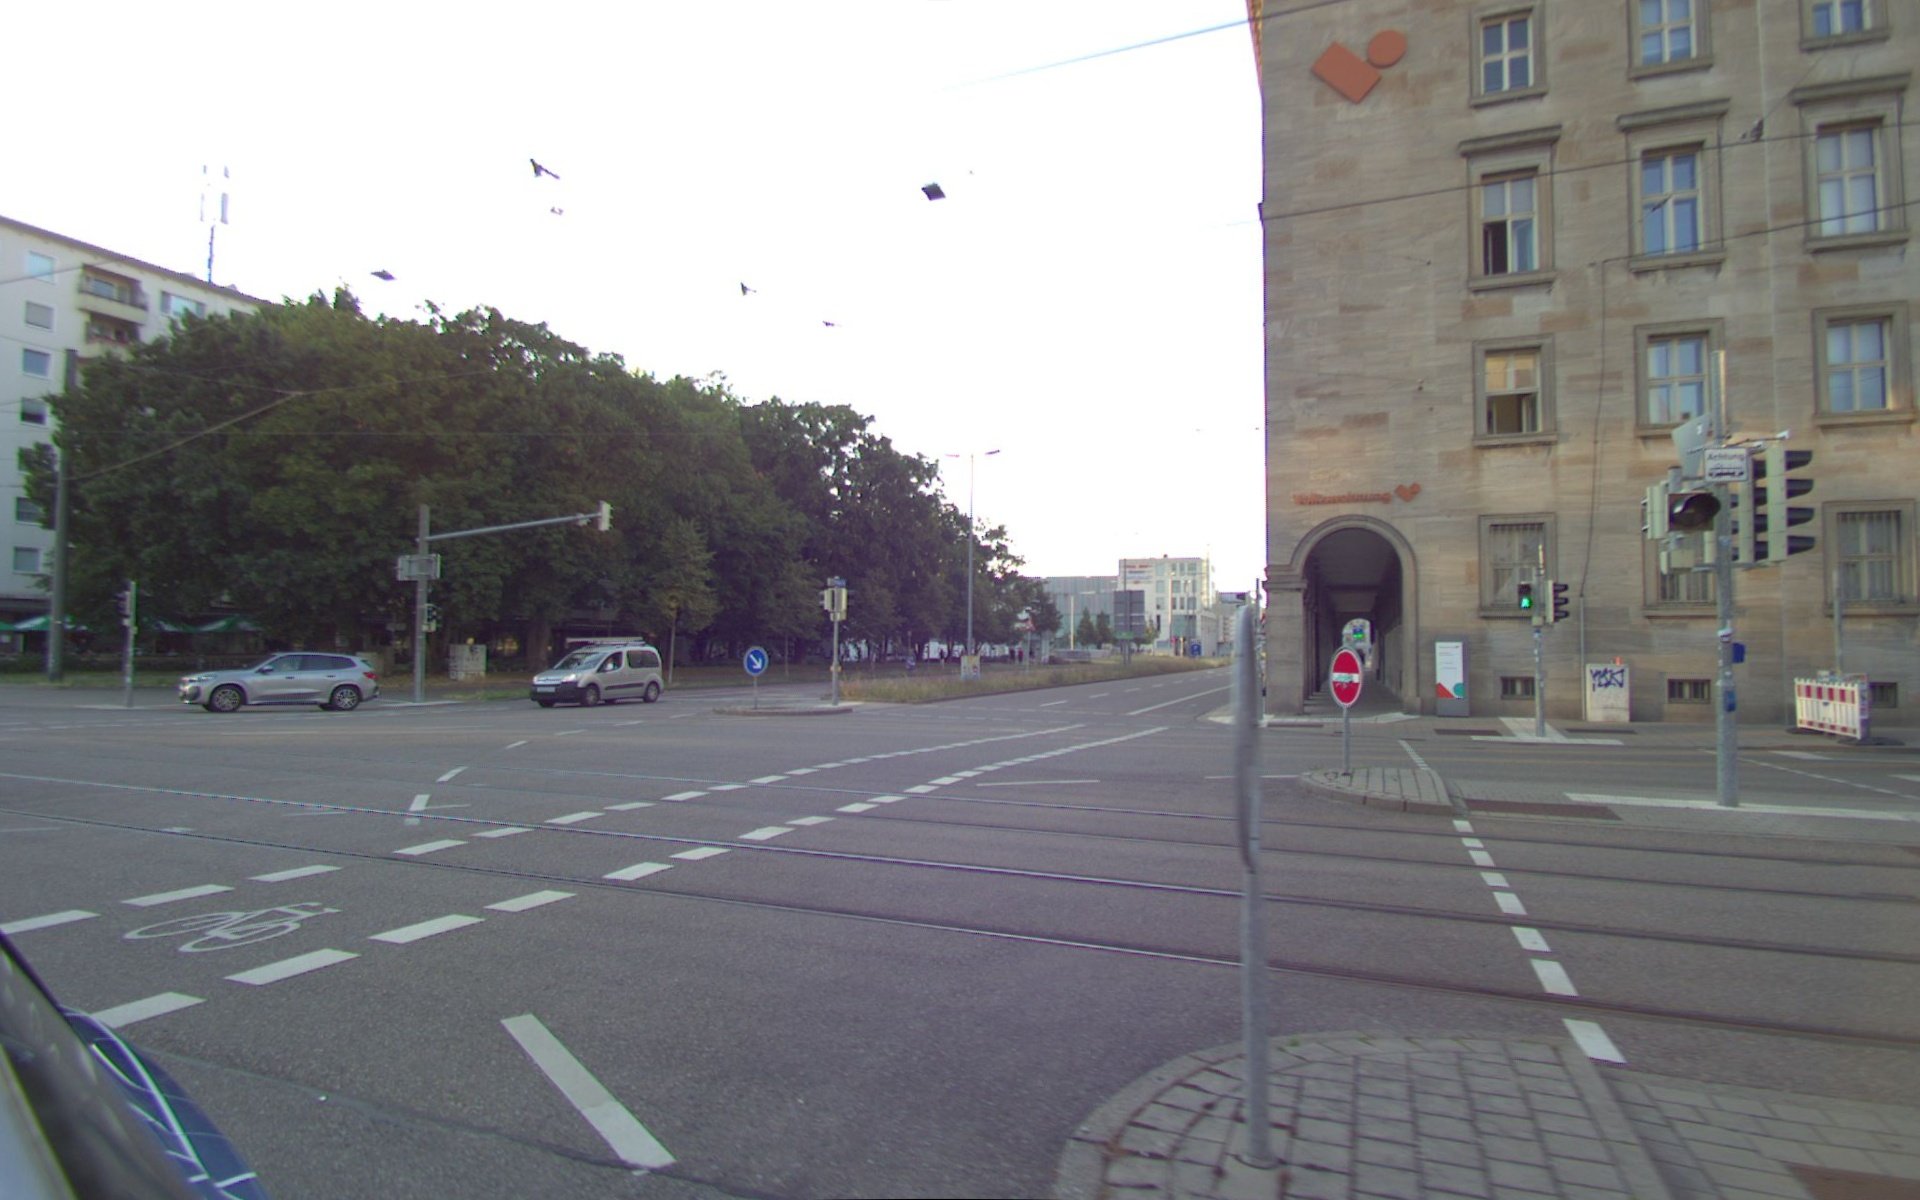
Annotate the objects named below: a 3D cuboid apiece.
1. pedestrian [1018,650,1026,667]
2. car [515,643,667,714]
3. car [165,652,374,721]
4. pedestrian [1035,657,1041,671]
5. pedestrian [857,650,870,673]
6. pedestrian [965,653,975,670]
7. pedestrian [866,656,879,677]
[{"bbox_3d":[6.348,5.946,103.487,0.625,1.678,0.644,3,-3,9],"label":"pedestrian"},{"bbox_3d":[-10.754,2.250,29.893,1.792,1.926,4.435,-1,-3,20],"label":"car"},{"bbox_3d":[-18.489,2.264,27.255,1.886,1.676,4.285,-3,-4,41],"label":"car"},{"bbox_3d":[7.949,6.487,103.222,0.625,1.406,0.644,1,-4,9],"label":"pedestrian"},{"bbox_3d":[-6.948,4.424,72.625,0.642,1.607,0.672,-2,-3,24],"label":"pedestrian"},{"bbox_3d":[0.883,5.442,90.005,0.628,1.474,0.641,-1,-3,24],"label":"pedestrian"},{"bbox_3d":[-6.249,4.735,72.068,0.673,1.508,0.641,-1,-3,23],"label":"pedestrian"}]
